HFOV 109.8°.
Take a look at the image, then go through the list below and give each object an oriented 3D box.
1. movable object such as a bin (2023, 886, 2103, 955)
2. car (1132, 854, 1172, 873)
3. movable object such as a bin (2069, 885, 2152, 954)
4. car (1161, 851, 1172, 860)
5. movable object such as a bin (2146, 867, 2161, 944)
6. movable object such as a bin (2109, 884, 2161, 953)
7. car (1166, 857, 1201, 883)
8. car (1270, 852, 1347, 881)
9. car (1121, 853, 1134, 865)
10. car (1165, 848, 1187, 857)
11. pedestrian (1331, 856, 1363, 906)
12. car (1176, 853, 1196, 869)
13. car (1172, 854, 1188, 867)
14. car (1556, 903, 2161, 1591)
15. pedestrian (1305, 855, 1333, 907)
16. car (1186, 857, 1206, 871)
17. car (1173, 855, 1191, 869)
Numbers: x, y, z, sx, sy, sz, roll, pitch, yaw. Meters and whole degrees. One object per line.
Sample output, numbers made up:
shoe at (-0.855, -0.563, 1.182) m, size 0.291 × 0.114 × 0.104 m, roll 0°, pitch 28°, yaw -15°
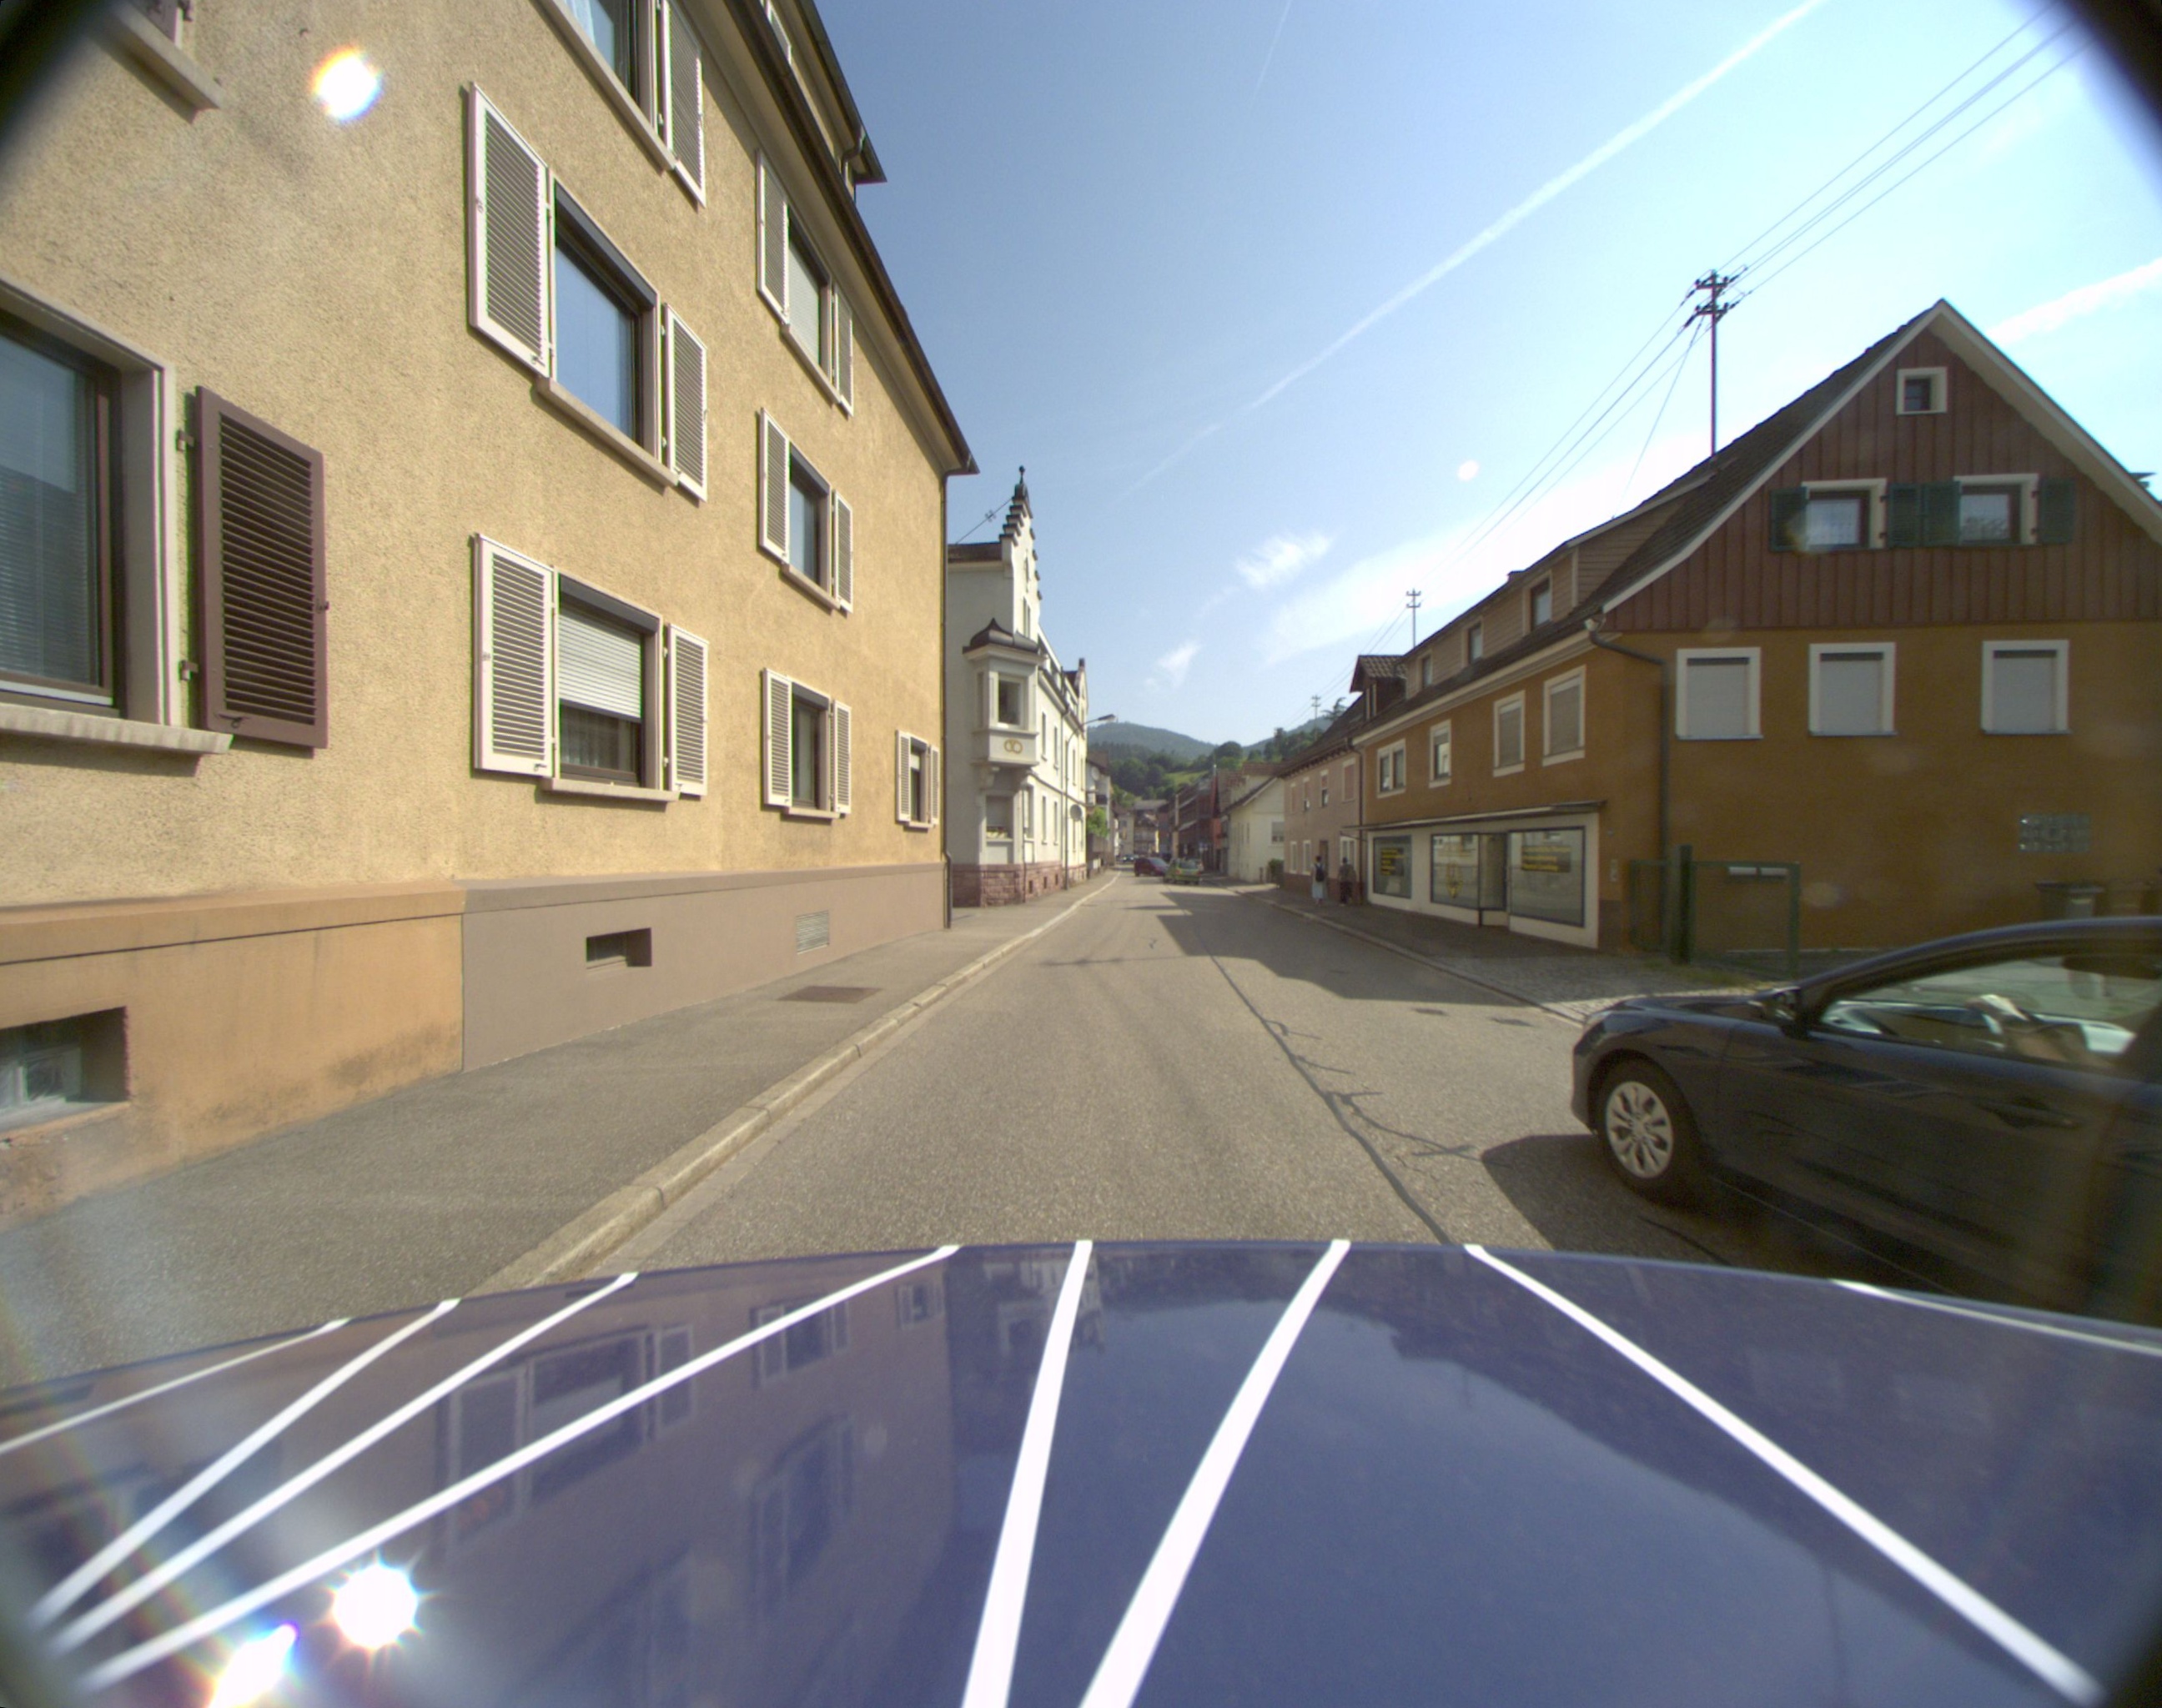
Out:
movable object such as a bin at (13.808, 0.924, 10.691) m, size 0.479 × 0.916 × 0.486 m, roll -2°, pitch 0°, yaw 4°
car at (6.040, 0.834, 65.056) m, size 1.825 × 1.652 × 3.994 m, roll 0°, pitch -1°, yaw -20°
movable object such as a bin at (14.441, 0.907, 10.667) m, size 0.479 × 0.916 × 0.486 m, roll -2°, pitch 0°, yaw 4°
car at (15.406, 0.233, 137.057) m, size 1.786 × 1.566 × 3.889 m, roll -3°, pitch 0°, yaw 3°
movable object such as a bin at (15.634, 0.728, 10.578) m, size 0.544 × 1.087 × 0.744 m, roll -2°, pitch 0°, yaw 4°
movable object such as a bin at (14.984, 0.893, 10.641) m, size 0.479 × 0.916 × 0.486 m, roll -2°, pitch 0°, yaw 4°
car at (6.448, 0.975, 48.251) m, size 1.601 × 1.456 × 3.659 m, roll 3°, pitch 0°, yaw -1°
car at (13.570, 0.748, 45.480) m, size 3.996 × 1.584 × 1.907 m, roll -1°, pitch 0°, yaw 2°
car at (8.426, 0.851, 137.504) m, size 1.999 × 2.002 × 3.999 m, roll -2°, pitch 1°, yaw -2°
car at (18.179, -0.277, 145.674) m, size 3.999 × 1.673 × 1.834 m, roll 0°, pitch -1°, yaw -5°
pedestrian at (8.584, 0.858, 24.538) m, size 0.736 × 1.555 × 0.825 m, roll -2°, pitch 0°, yaw 5°
car at (11.534, 0.742, 83.435) m, size 1.724 × 1.786 × 4.269 m, roll 0°, pitch 0°, yaw 2°
car at (12.458, 0.811, 95.770) m, size 1.678 × 1.546 × 3.765 m, roll -1°, pitch 0°, yaw 2°
car at (3.357, 0.995, 1.900) m, size 1.752 × 1.444 × 4.028 m, roll 3°, pitch -1°, yaw 0°
pedestrian at (7.649, 0.859, 24.448) m, size 0.641 × 1.617 × 0.777 m, roll -3°, pitch 0°, yaw 6°
car at (11.746, 1.007, 77.722) m, size 1.670 × 1.423 × 3.570 m, roll -2°, pitch -1°, yaw 5°
car at (11.820, 0.907, 89.286) m, size 1.678 × 1.580 × 3.950 m, roll -1°, pitch 0°, yaw 2°
